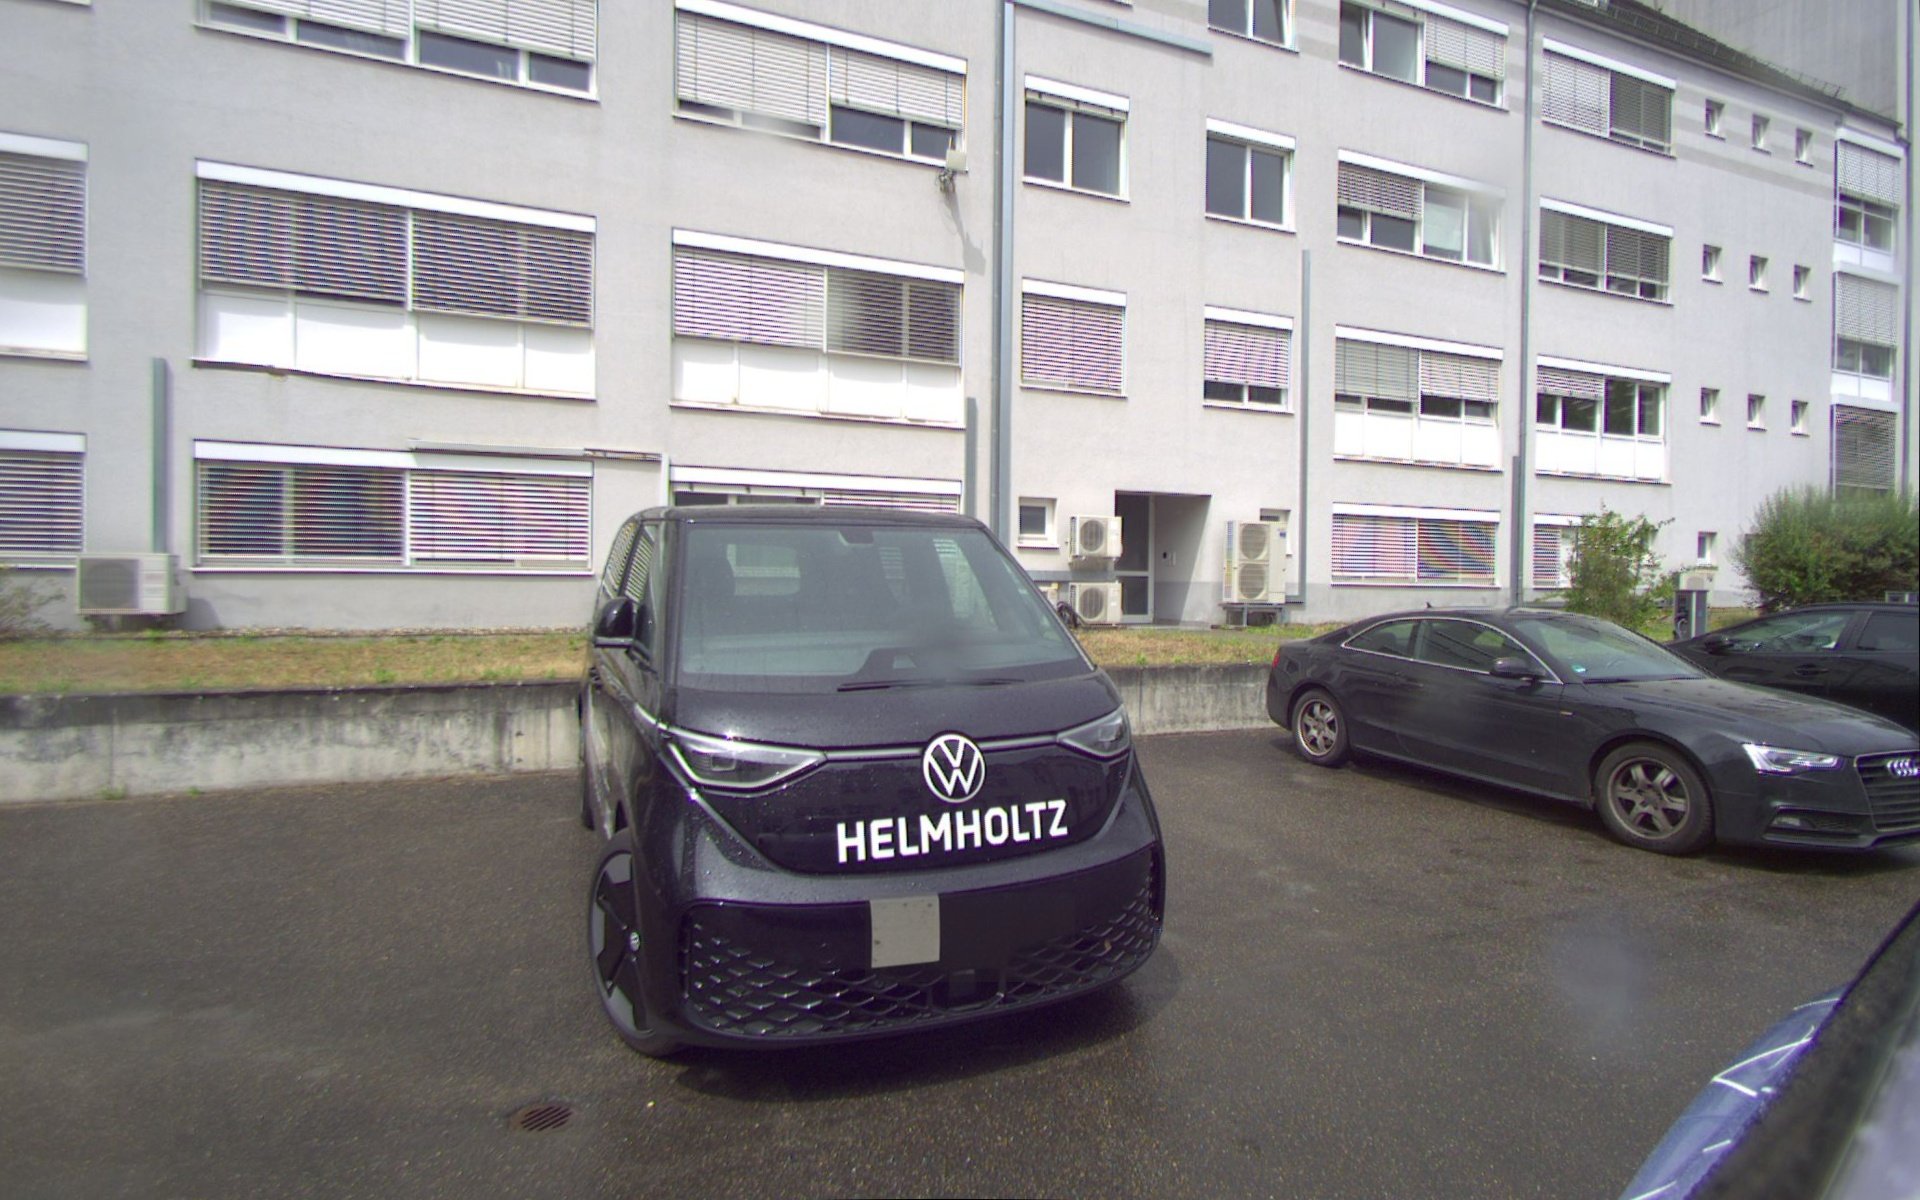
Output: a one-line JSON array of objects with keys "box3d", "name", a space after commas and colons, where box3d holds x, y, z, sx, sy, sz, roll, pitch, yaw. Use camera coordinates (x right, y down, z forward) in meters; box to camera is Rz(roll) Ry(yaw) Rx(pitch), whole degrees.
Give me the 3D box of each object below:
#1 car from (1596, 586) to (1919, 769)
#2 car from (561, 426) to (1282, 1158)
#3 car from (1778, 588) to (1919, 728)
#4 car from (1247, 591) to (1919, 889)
[{"box3d": [8.504, 0.647, 9.249, 1.899, 1.418, 4.193, 0, 2, -23], "name": "car"}, {"box3d": [-0.831, 0.389, 5.135, 2.066, 1.855, 4.736, 0, 2, -23], "name": "car"}, {"box3d": [11.547, 0.687, 10.702, 1.794, 1.473, 4.121, 0, 2, -21], "name": "car"}, {"box3d": [4.280, 0.688, 7.396, 1.821, 1.365, 4.377, 1, 2, -23], "name": "car"}]
